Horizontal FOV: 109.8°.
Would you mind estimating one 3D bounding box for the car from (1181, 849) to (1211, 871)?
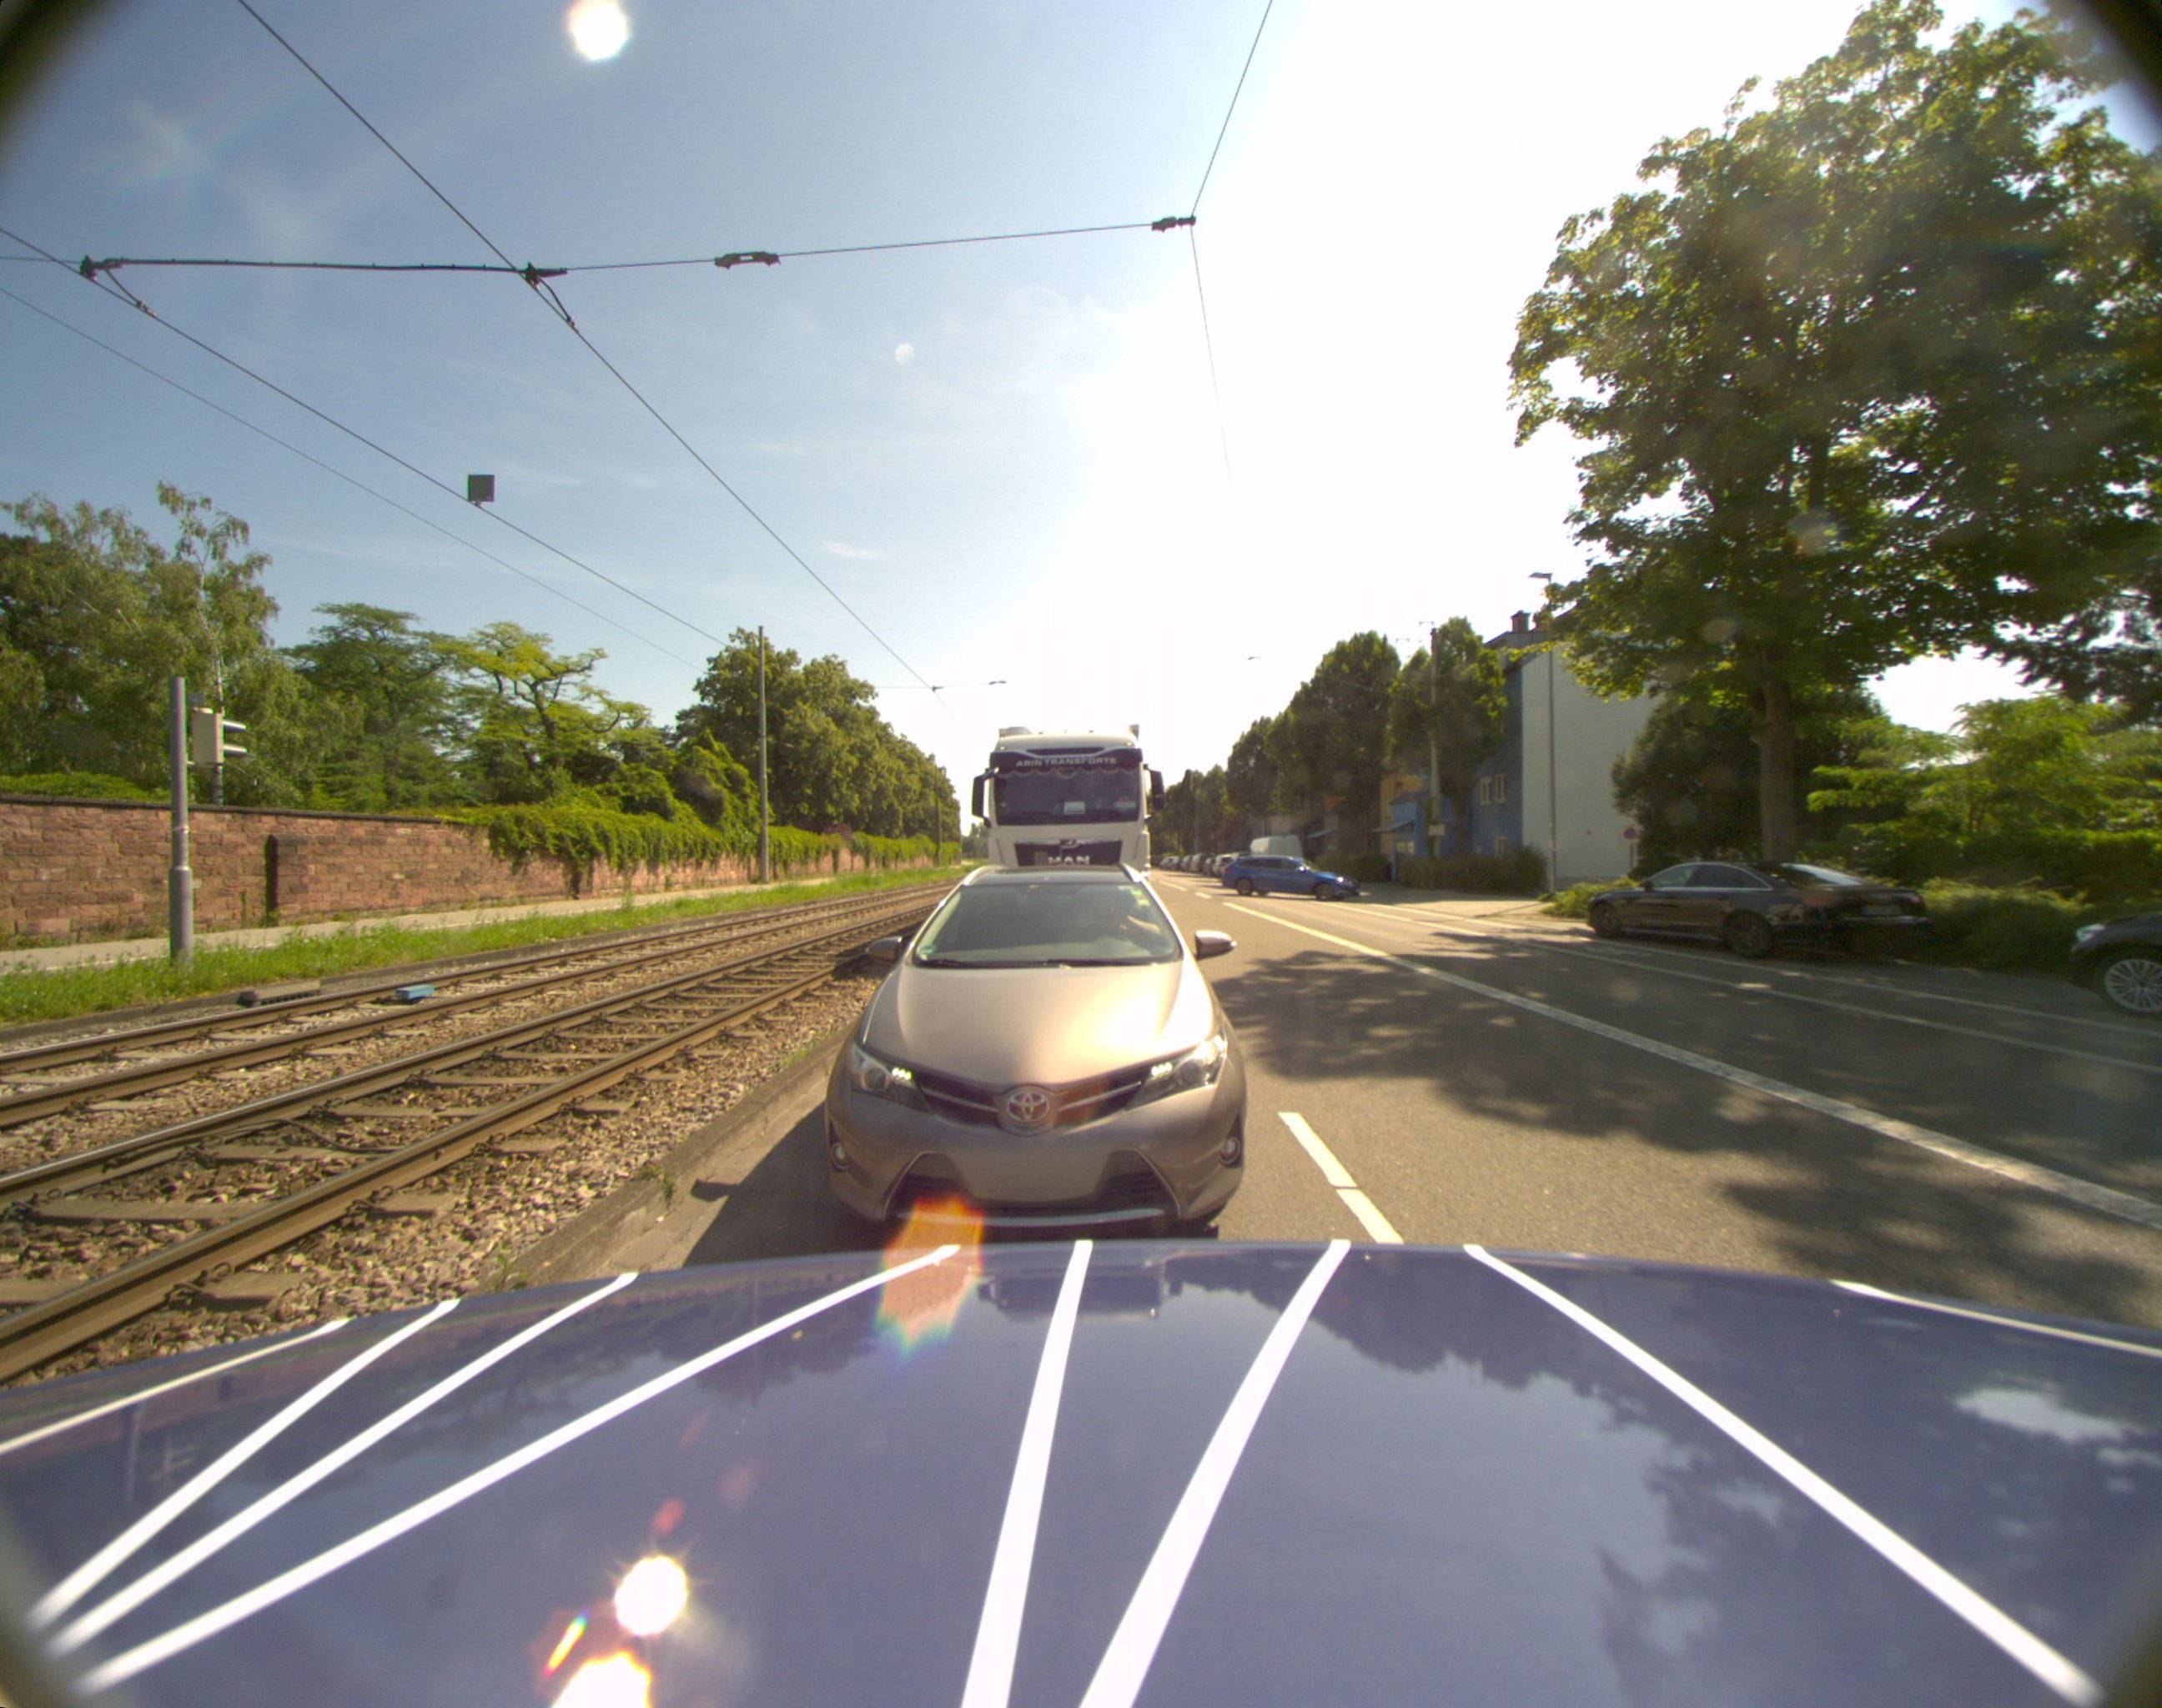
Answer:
[{"bbox_3d":[11.030,0.557,73.385,1.998,1.795,4.769,-6,0,0],"label":"car"}]

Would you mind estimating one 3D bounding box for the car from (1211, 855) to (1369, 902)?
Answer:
[{"bbox_3d":[7.299,0.787,26.928,5.059,1.422,1.895,2,1,41],"label":"car"}]

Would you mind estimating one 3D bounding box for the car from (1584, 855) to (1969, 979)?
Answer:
[{"bbox_3d":[10.564,0.825,12.167,1.868,1.562,4.621,-1,0,-2],"label":"car"}]

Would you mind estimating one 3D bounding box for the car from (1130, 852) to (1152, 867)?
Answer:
[{"bbox_3d":[8.290,0.794,105.576,1.999,1.795,5.111,-6,0,-4],"label":"car"}]

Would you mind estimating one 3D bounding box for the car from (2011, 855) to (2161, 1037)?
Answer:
[{"bbox_3d":[10.588,0.826,5.577,1.868,1.562,4.621,-2,0,0],"label":"car"}]

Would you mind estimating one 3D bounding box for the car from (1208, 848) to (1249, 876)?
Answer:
[{"bbox_3d":[11.088,0.577,57.386,1.998,1.795,4.769,-6,0,0],"label":"car"}]

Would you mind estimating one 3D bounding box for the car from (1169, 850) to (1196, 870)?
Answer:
[{"bbox_3d":[10.581,0.632,79.174,1.998,1.795,4.769,-6,0,0],"label":"car"}]

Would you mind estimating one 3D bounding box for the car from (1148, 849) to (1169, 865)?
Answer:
[{"bbox_3d":[9.907,0.371,96.930,1.998,1.795,4.769,-6,0,0],"label":"car"}]

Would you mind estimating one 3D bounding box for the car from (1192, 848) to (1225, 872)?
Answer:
[{"bbox_3d":[11.301,0.520,67.681,1.998,1.795,4.769,-6,0,0],"label":"car"}]

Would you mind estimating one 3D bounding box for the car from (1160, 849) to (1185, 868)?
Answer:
[{"bbox_3d":[10.242,0.475,85.455,1.998,1.795,4.769,-6,0,0],"label":"car"}]

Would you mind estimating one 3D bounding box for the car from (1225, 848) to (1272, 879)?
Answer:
[{"bbox_3d":[11.372,0.609,51.867,1.998,1.795,4.769,-6,0,0],"label":"car"}]

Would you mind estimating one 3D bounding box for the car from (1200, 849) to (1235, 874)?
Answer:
[{"bbox_3d":[11.235,0.583,62.870,1.998,1.795,4.256,-6,0,0],"label":"car"}]

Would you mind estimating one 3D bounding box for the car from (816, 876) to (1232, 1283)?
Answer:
[{"bbox_3d":[-0.193,0.913,4.881,1.573,1.422,4.000,0,0,1],"label":"car"}]

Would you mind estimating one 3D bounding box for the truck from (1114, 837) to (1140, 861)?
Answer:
[{"bbox_3d":[6.997,-0.678,116.114,2.704,3.263,6.724,-6,0,-5],"label":"truck"}]

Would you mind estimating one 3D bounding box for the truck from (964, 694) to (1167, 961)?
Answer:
[{"bbox_3d":[-0.126,-0.407,18.452,2.935,3.856,14.912,0,0,1],"label":"truck"}]

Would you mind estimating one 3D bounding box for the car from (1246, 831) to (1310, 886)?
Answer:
[{"bbox_3d":[11.058,0.234,43.193,1.998,2.678,6.214,-6,0,2],"label":"car"}]
